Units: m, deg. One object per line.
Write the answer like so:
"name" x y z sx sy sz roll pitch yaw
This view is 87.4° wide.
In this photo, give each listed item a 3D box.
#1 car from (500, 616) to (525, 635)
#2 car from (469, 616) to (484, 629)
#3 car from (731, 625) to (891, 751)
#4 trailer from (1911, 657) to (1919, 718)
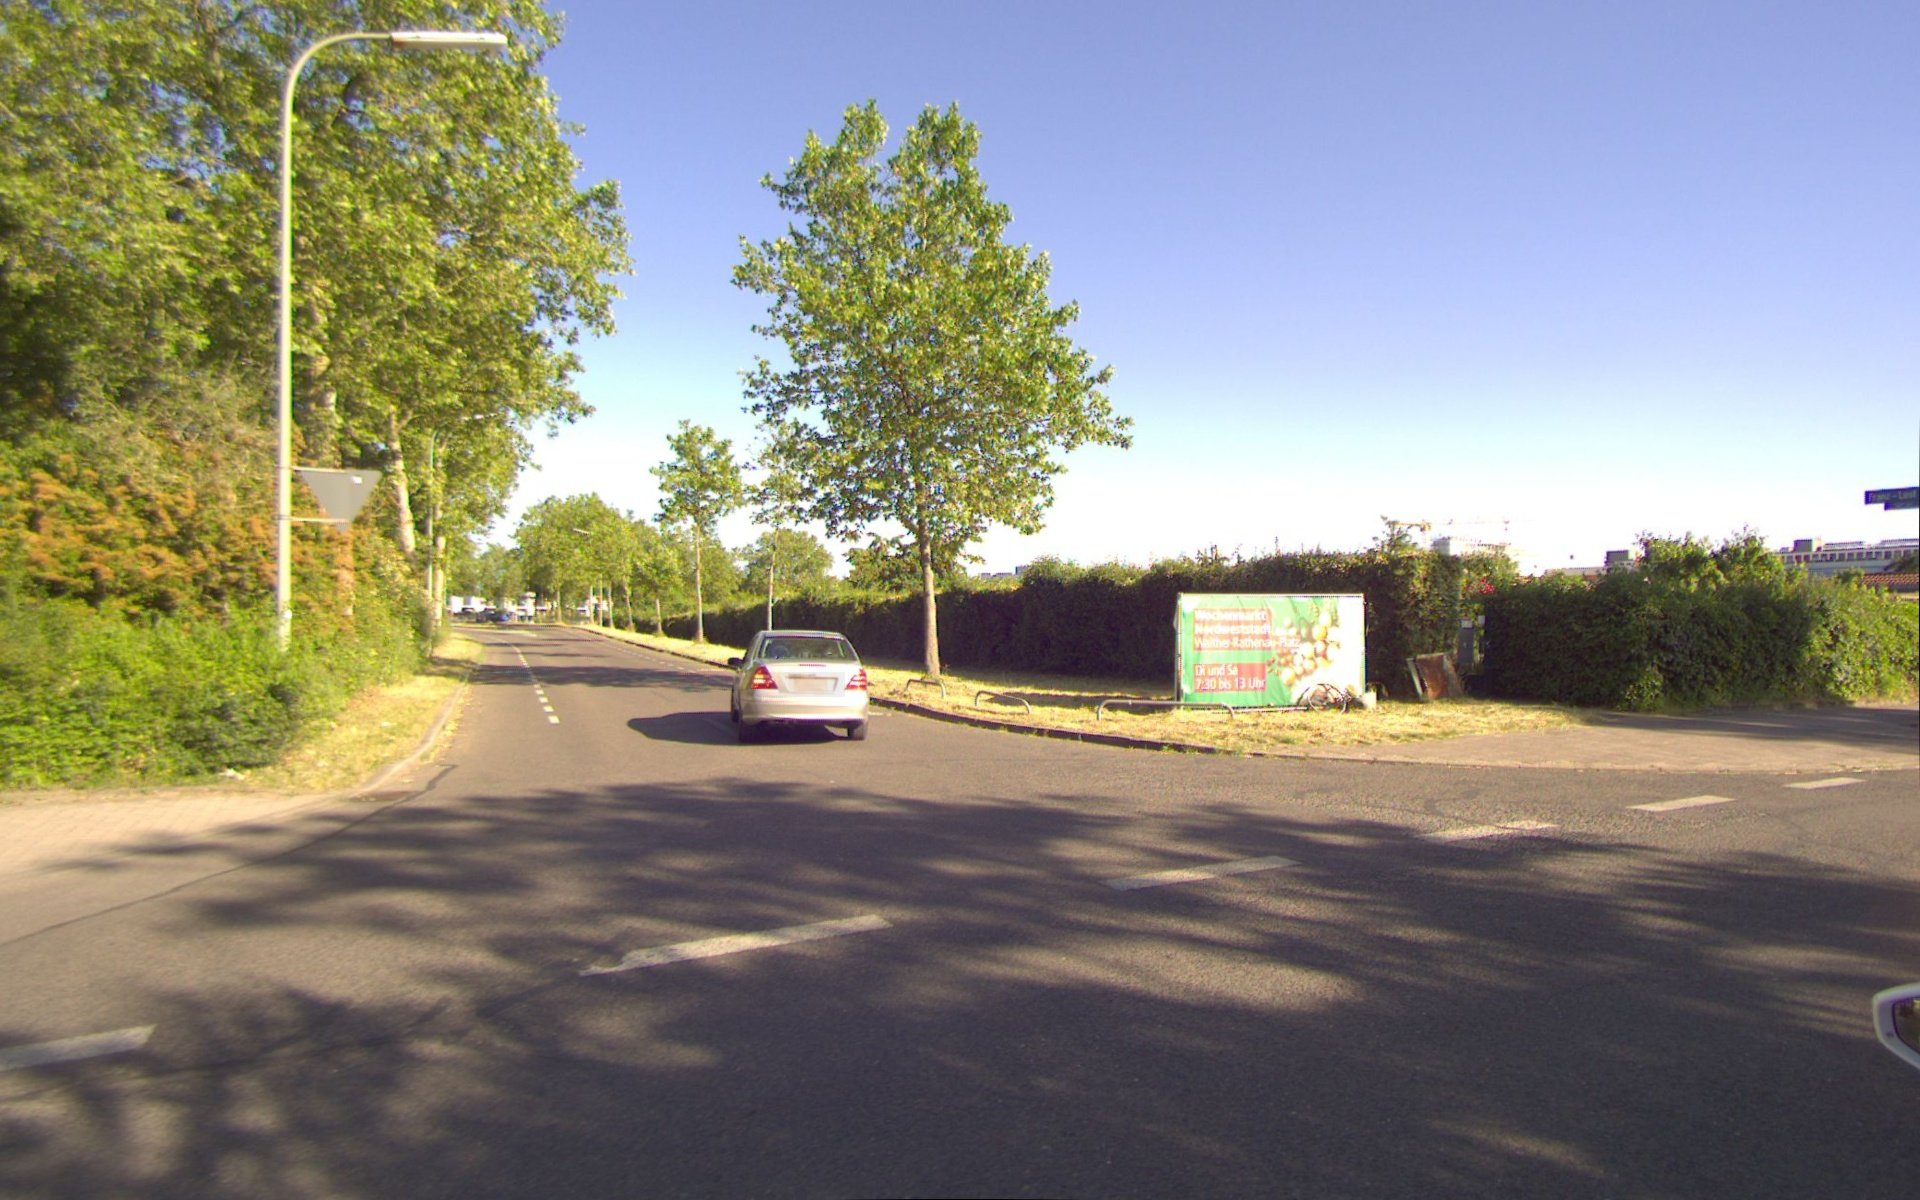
"car" -40.011 2.276 89.737 1.766 1.568 3.971 1 0 -28
"car" -64.814 2.983 134.599 1.766 1.568 3.971 1 0 -28
"car" -2.223 1.114 14.090 1.714 1.472 3.987 1 -2 -16
"trailer" 16.920 1.443 16.126 2.611 0.966 1.539 1 0 -25
